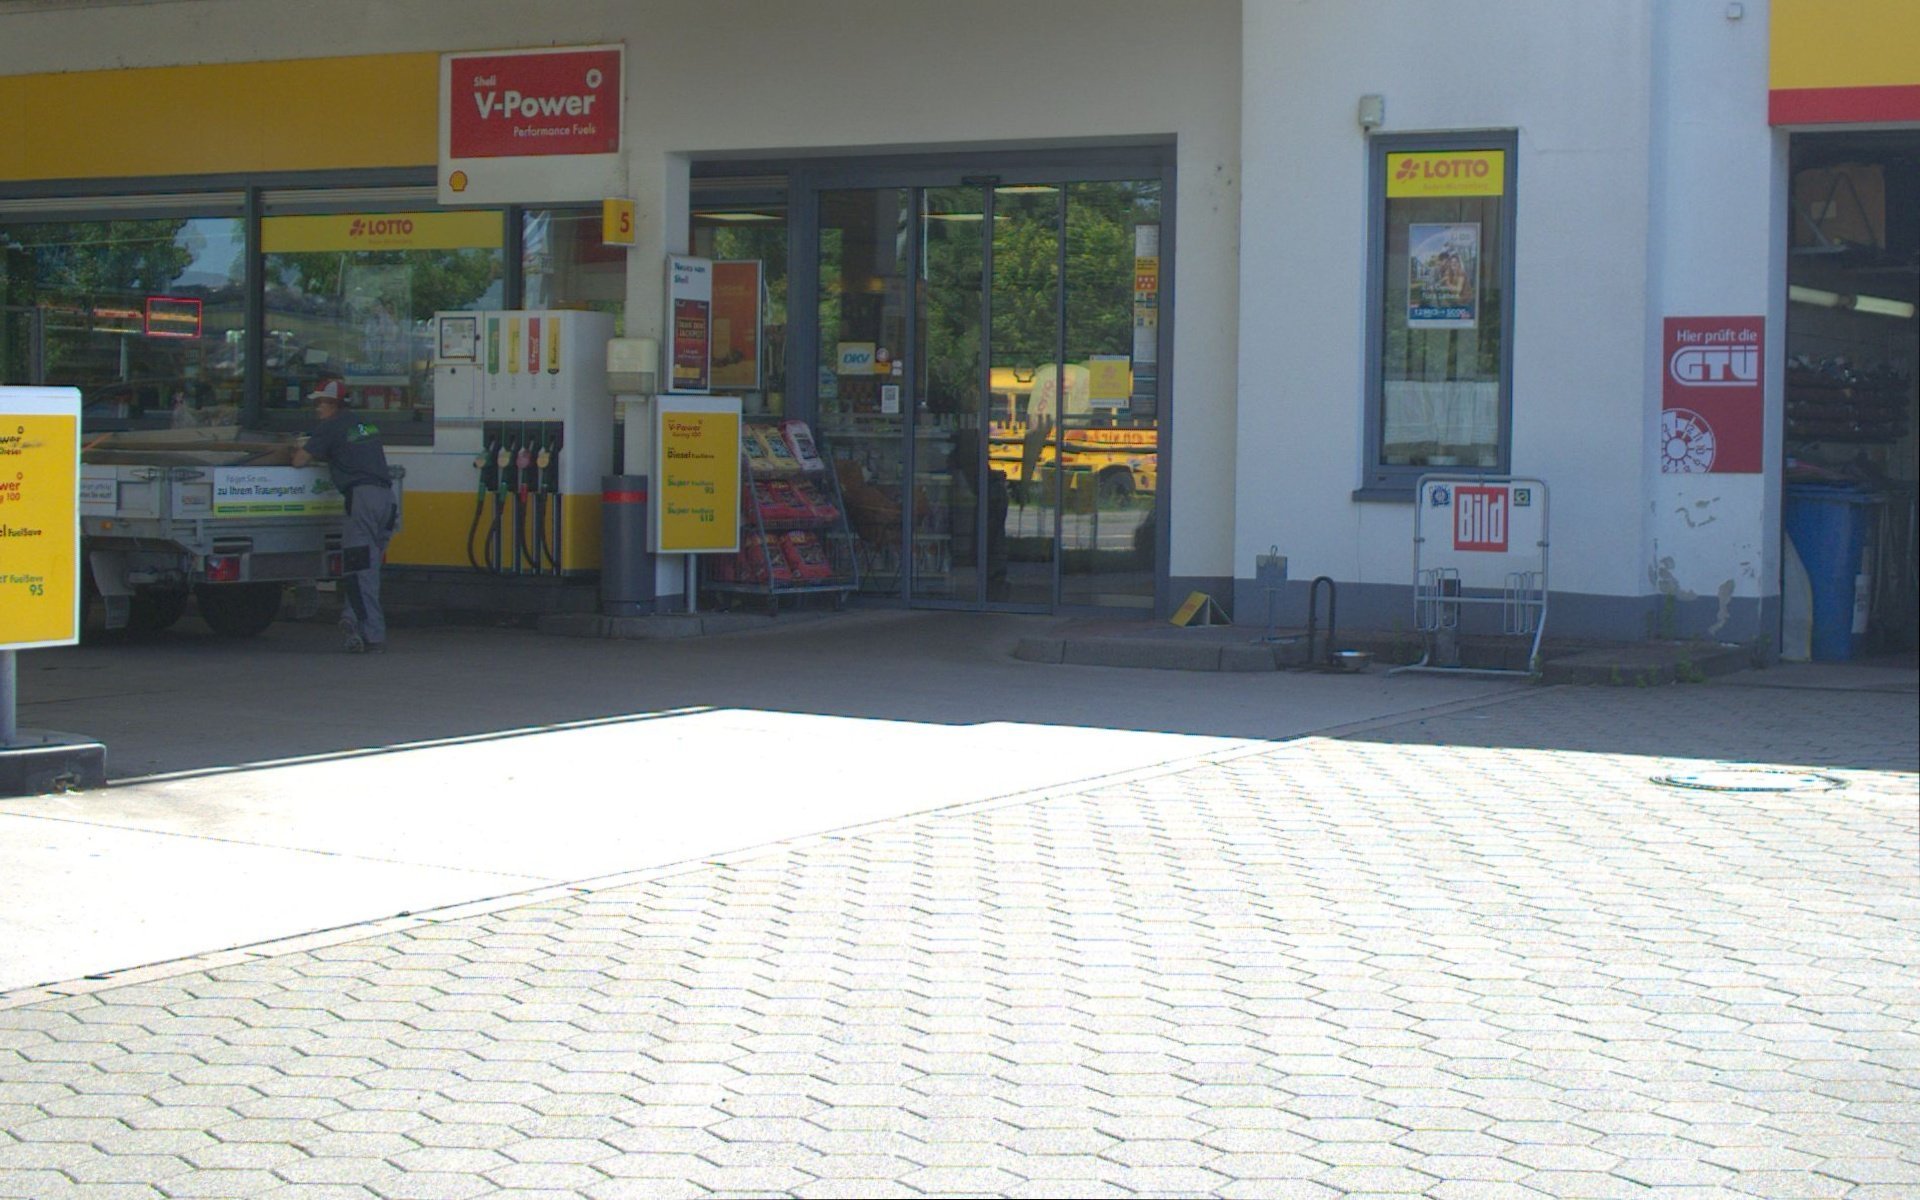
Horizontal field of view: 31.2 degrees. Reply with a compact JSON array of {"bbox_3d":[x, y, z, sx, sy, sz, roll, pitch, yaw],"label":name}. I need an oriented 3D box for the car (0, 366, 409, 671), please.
[{"bbox_3d":[-5.527,-0.549,21.276,3.995,1.722,1.830,2,3,34],"label":"car"}]

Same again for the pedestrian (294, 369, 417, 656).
[{"bbox_3d":[-3.558,-0.521,20.238,0.500,1.662,0.475,3,3,31],"label":"pedestrian"}]

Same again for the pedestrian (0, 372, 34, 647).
[{"bbox_3d":[-5.754,-0.532,20.014,0.475,1.587,0.500,3,3,33],"label":"pedestrian"}]
